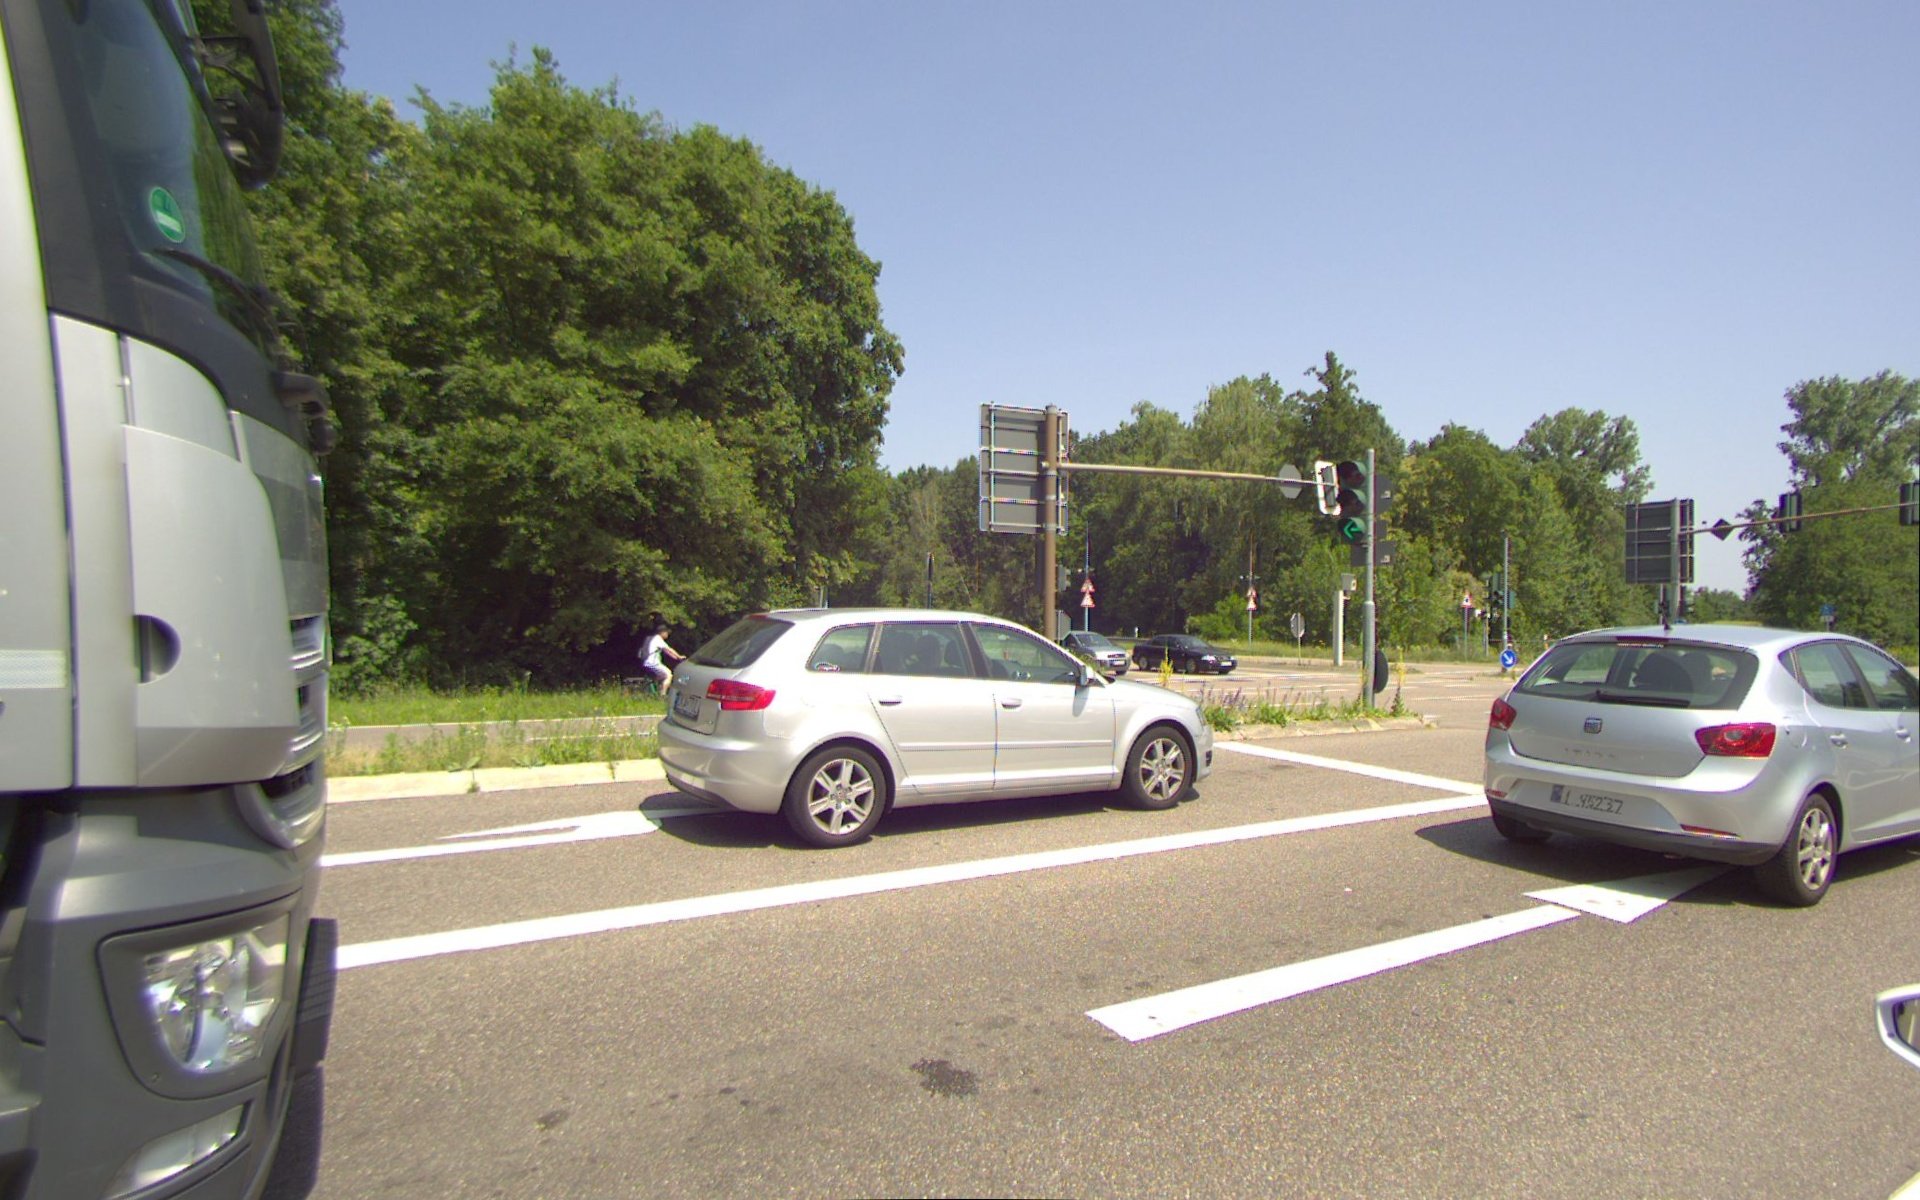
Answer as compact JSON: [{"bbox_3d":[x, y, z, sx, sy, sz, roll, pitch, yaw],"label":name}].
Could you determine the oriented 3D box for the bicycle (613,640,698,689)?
[{"bbox_3d":[-6.034,1.266,19.918,1.581,0.935,0.564,1,-1,-21],"label":"bicycle"}]

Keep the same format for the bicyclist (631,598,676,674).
[{"bbox_3d":[-6.077,0.710,19.909,0.798,1.484,0.658,1,-1,-21],"label":"bicyclist"}]

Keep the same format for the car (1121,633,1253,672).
[{"bbox_3d":[8.230,1.879,36.881,2.080,1.307,4.783,1,-2,-30],"label":"car"}]

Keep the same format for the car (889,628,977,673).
[{"bbox_3d":[-1.289,2.263,45.660,1.977,1.923,4.782,1,-2,-30],"label":"car"}]

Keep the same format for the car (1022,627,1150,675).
[{"bbox_3d":[4.397,1.761,35.910,2.105,1.588,4.782,1,-2,-30],"label":"car"}]

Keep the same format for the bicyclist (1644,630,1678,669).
[{"bbox_3d":[27.159,1.916,38.918,0.701,1.479,0.927,0,-1,7],"label":"bicyclist"}]

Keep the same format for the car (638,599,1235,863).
[{"bbox_3d":[-0.074,0.738,7.231,3.971,1.410,1.755,1,0,-33],"label":"car"}]

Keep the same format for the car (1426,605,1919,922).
[{"bbox_3d":[4.895,0.805,6.362,3.783,1.449,1.658,1,0,-30],"label":"car"}]

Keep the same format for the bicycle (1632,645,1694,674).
[{"bbox_3d":[27.184,2.297,38.849,1.831,1.077,0.725,0,-1,7],"label":"bicycle"}]
